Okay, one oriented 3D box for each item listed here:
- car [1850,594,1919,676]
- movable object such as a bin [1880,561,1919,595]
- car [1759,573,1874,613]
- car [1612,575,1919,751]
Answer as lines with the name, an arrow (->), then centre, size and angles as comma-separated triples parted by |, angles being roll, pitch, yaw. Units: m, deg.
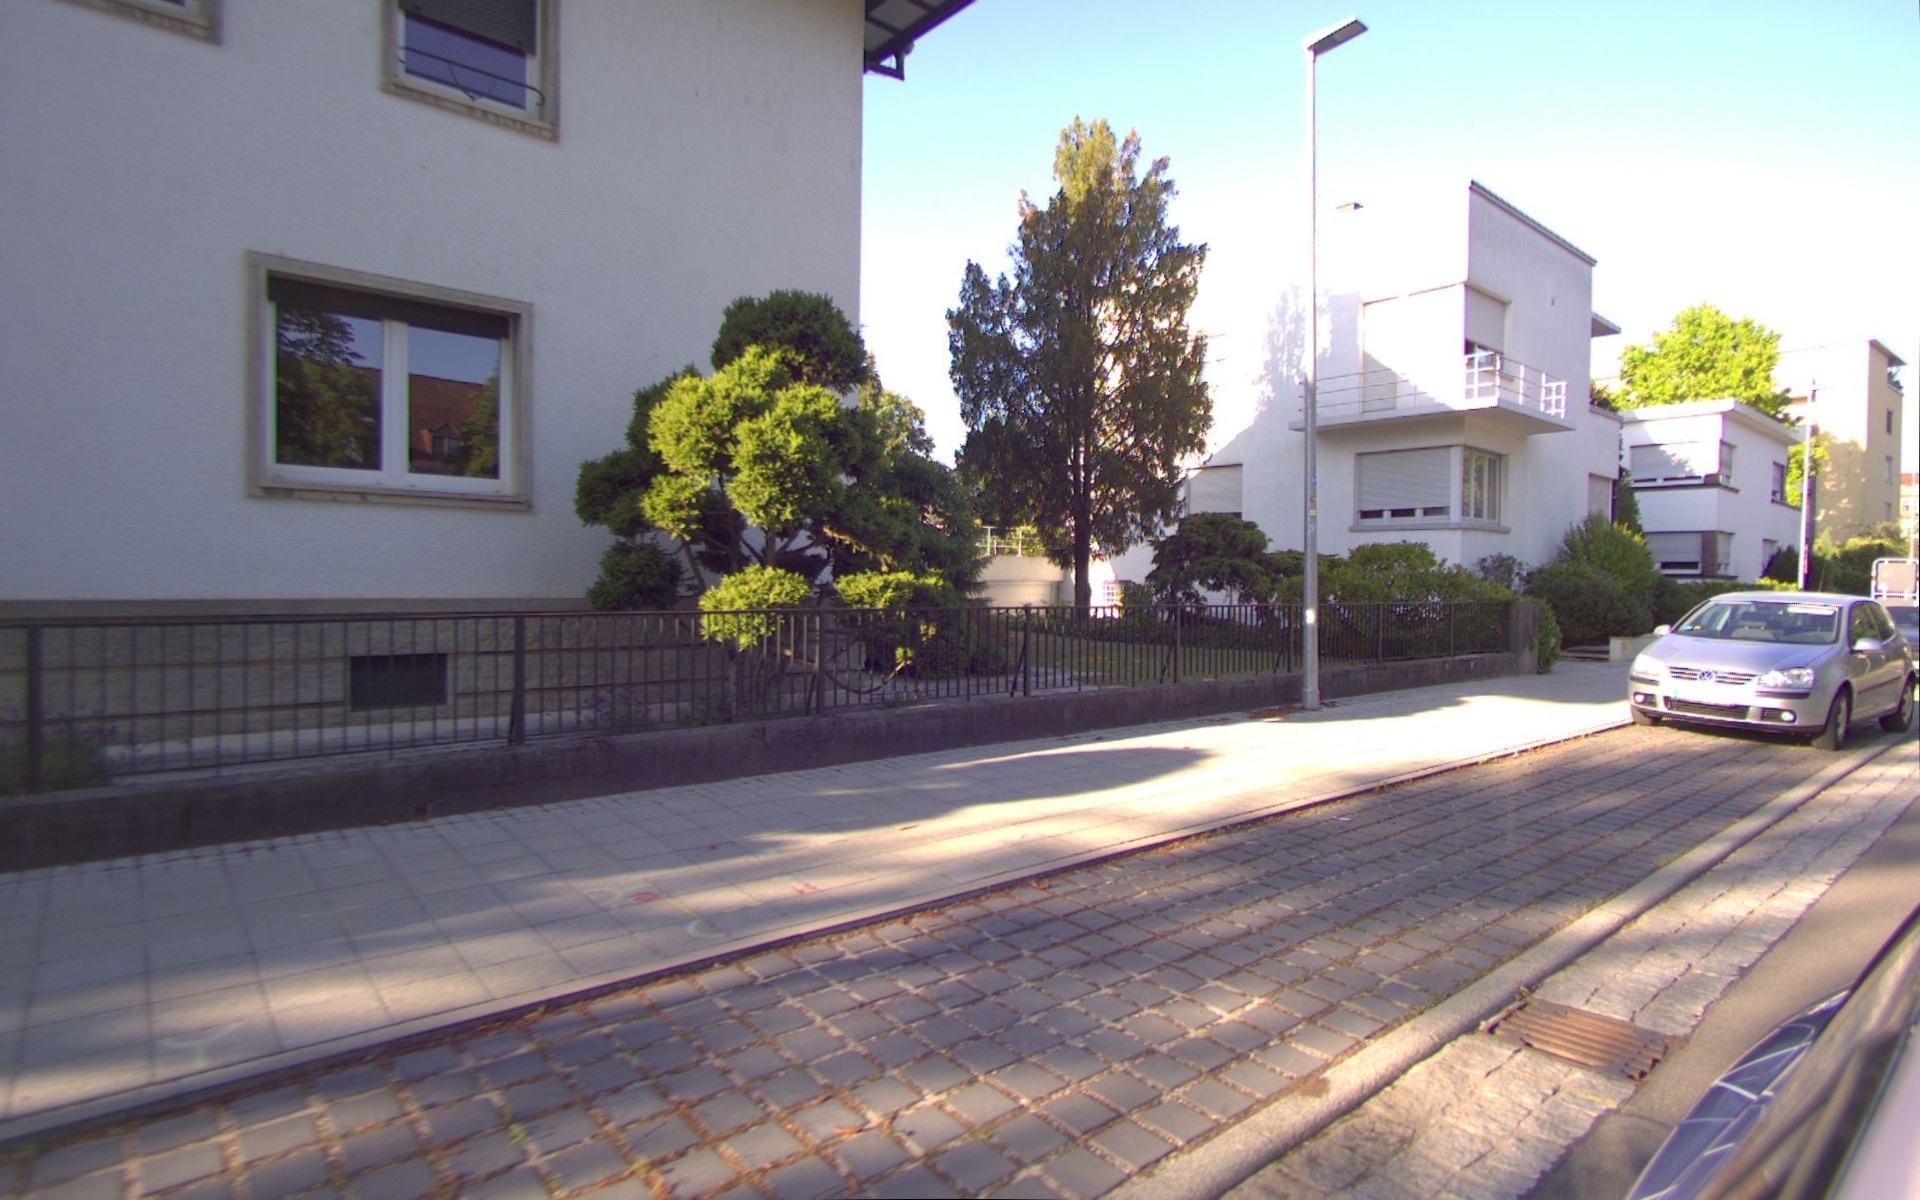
car -> 17.514, 0.616, 18.073 | 4.196, 1.304, 1.779 | 0, 3, -40
movable object such as a bin -> 41.702, -0.967, 44.818 | 1.103, 1.450, 1.240 | -1, 1, -38
car -> 37.305, -0.306, 44.160 | 1.611, 1.662, 3.507 | -1, 1, -32
car -> 8.803, 0.537, 10.816 | 3.848, 1.492, 1.751 | 0, 4, -36
